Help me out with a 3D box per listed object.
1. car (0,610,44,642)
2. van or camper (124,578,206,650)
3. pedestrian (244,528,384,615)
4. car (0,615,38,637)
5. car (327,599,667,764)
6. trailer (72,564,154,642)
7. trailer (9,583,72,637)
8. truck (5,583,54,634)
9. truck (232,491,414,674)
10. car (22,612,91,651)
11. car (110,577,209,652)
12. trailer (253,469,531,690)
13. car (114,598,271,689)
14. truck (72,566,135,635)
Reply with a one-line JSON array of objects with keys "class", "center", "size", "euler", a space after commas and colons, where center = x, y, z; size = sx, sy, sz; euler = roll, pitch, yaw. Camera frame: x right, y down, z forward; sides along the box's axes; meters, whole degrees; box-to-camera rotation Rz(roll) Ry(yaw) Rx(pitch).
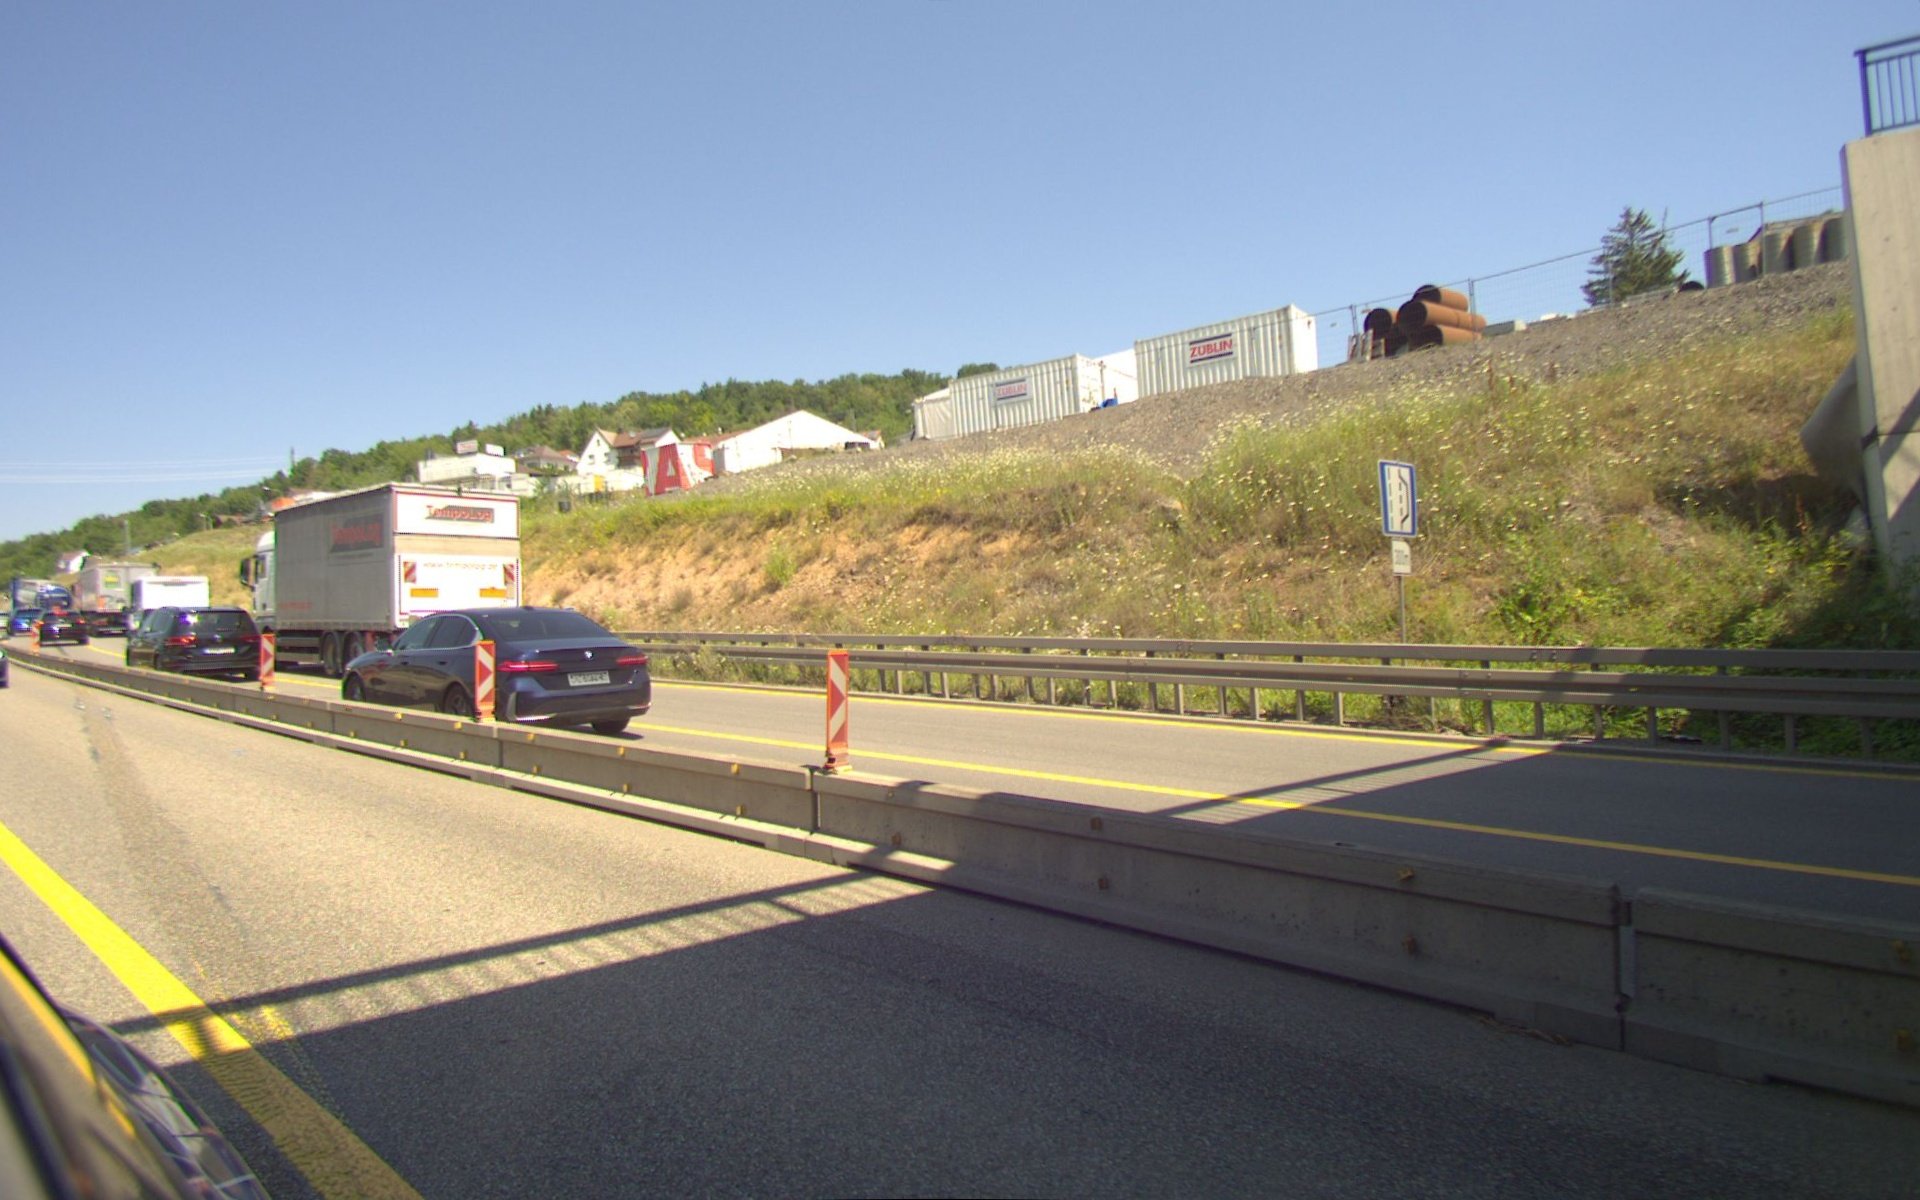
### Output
[{"class": "car", "center": [-54.235, 1.457, 58.378], "size": [1.810, 1.676, 4.693], "euler": [-1, 1, -40]}, {"class": "van or camper", "center": [-32.539, 0.573, 41.362], "size": [2.098, 2.725, 6.462], "euler": [0, -1, -43]}, {"class": "pedestrian", "center": [-16.344, -0.672, 25.532], "size": [3.999, 2.029, 1.972], "euler": [0, 1, 42]}, {"class": "car", "center": [-65.607, 1.779, 70.411], "size": [4.535, 1.440, 1.813], "euler": [-1, 0, 44]}, {"class": "car", "center": [-5.567, 0.772, 11.848], "size": [4.771, 1.539, 1.836], "euler": [0, 1, 41]}, {"class": "trailer", "center": [-46.352, 0.130, 55.243], "size": [2.624, 3.844, 11.831], "euler": [-1, 1, -44]}, {"class": "trailer", "center": [-71.041, 0.731, 78.092], "size": [11.273, 3.899, 2.572], "euler": [0, 1, 43]}, {"class": "truck", "center": [-75.822, 0.679, 82.471], "size": [4.588, 4.006, 2.555], "euler": [0, 1, 43]}, {"class": "truck", "center": [-16.080, -0.406, 25.506], "size": [4.071, 4.181, 2.770], "euler": [0, 1, 40]}, {"class": "car", "center": [-38.255, 1.311, 42.819], "size": [4.185, 1.529, 1.735], "euler": [-2, 0, 42]}, {"class": "car", "center": [-32.636, 0.528, 41.185], "size": [6.560, 2.842, 2.250], "euler": [0, 1, 44]}, {"class": "trailer", "center": [-13.108, -0.407, 22.975], "size": [8.237, 4.205, 2.784], "euler": [0, 1, 40]}, {"class": "car", "center": [-16.896, 0.889, 22.198], "size": [4.606, 1.769, 1.836], "euler": [-1, 0, 41]}, {"class": "truck", "center": [-50.626, 0.003, 59.781], "size": [2.554, 3.857, 5.386], "euler": [-1, 1, -43]}]
